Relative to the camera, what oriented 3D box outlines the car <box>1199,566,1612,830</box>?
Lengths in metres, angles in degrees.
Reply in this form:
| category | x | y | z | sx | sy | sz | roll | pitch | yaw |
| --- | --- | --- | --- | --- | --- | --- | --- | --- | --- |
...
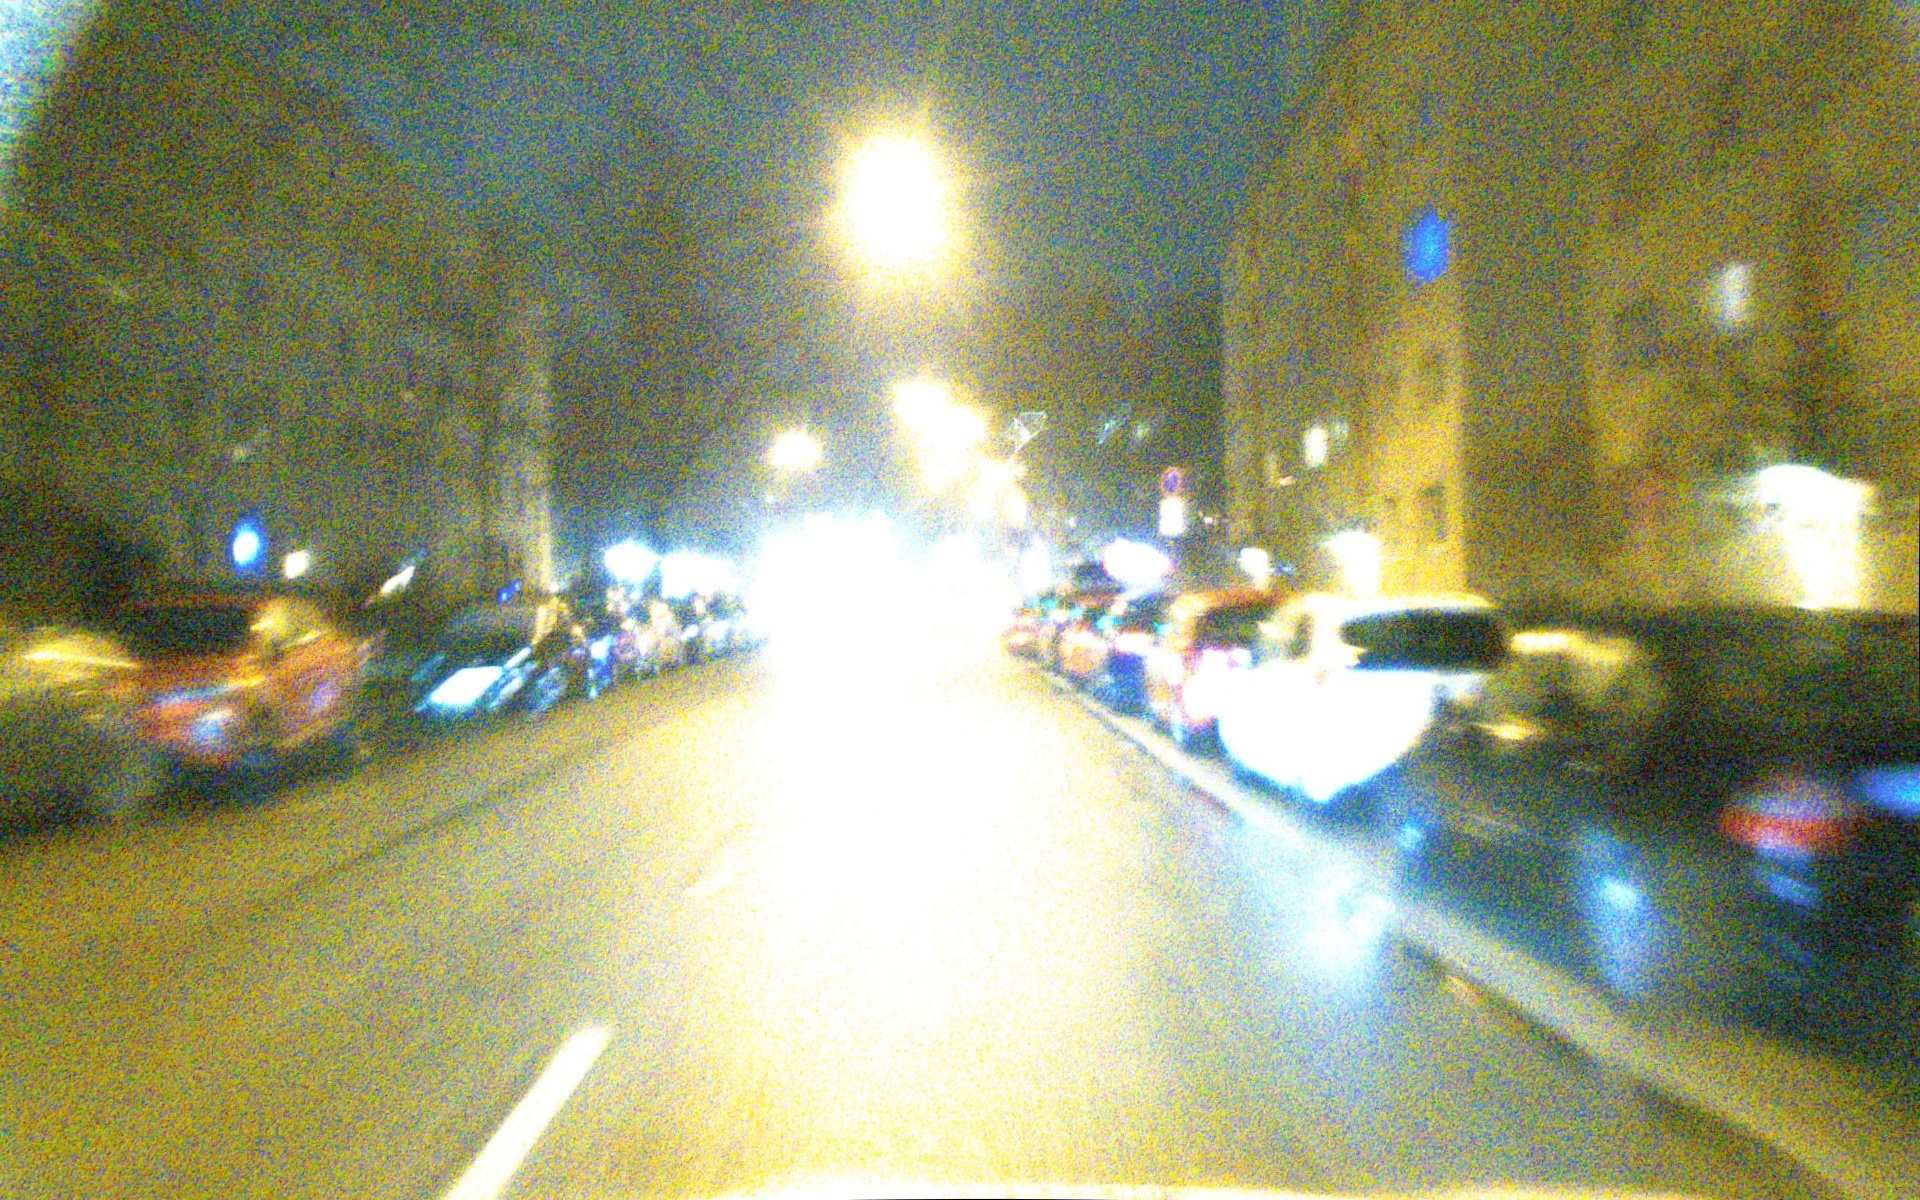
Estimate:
| category | x | y | z | sx | sy | sz | roll | pitch | yaw |
| --- | --- | --- | --- | --- | --- | --- | --- | --- | --- |
| car | 3.003 | 0.570 | 12.118 | 1.641 | 1.513 | 4.277 | -2 | 1 | -3 |

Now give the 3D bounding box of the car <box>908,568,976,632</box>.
| category | x | y | z | sx | sy | sz | roll | pitch | yaw |
| --- | --- | --- | --- | --- | --- | --- | --- | --- | --- |
| car | -0.636 | -0.013 | 55.019 | 2.124 | 2.006 | 4.300 | -1 | 0 | -2 |

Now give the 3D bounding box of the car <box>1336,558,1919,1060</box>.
| category | x | y | z | sx | sy | sz | roll | pitch | yaw |
| --- | --- | --- | --- | --- | --- | --- | --- | --- | --- |
| car | 3.122 | 0.600 | 7.195 | 1.759 | 1.472 | 4.277 | -3 | 1 | -3 |

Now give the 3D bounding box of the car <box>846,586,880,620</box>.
| category | x | y | z | sx | sy | sz | roll | pitch | yaw |
| --- | --- | --- | --- | --- | --- | --- | --- | --- | --- |
| car | -6.479 | 0.165 | 110.004 | 1.995 | 1.987 | 5.195 | -4 | 2 | -5 |

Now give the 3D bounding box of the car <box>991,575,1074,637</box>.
| category | x | y | z | sx | sy | sz | roll | pitch | yaw |
| --- | --- | --- | --- | --- | --- | --- | --- | --- | --- |
| car | 1.848 | 0.128 | 43.237 | 1.786 | 1.446 | 4.487 | -3 | 1 | -2 |

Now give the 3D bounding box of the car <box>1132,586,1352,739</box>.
| category | x | y | z | sx | sy | sz | roll | pitch | yaw |
| --- | --- | --- | --- | --- | --- | --- | --- | --- | --- |
| car | 2.764 | 0.557 | 16.901 | 1.427 | 1.329 | 3.627 | -2 | 1 | -3 |

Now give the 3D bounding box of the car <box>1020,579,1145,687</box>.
| category | x | y | z | sx | sy | sz | roll | pitch | yaw |
| --- | --- | --- | --- | --- | --- | --- | --- | --- | --- |
| car | 1.956 | 0.482 | 27.571 | 1.787 | 1.574 | 4.353 | -2 | 1 | 1 |

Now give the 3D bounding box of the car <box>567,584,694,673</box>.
| category | x | y | z | sx | sy | sz | roll | pitch | yaw |
| --- | --- | --- | --- | --- | --- | --- | --- | --- | --- |
| car | -6.298 | 0.494 | 32.117 | 1.605 | 1.482 | 4.931 | -4 | 1 | -3 |

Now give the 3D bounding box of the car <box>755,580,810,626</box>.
| category | x | y | z | sx | sy | sz | roll | pitch | yaw |
| --- | --- | --- | --- | --- | --- | --- | --- | --- | --- |
| car | -6.726 | 0.093 | 62.987 | 1.566 | 1.591 | 4.379 | -4 | 1 | -1 |

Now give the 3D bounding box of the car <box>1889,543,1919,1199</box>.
| category | x | y | z | sx | sy | sz | roll | pitch | yaw |
| --- | --- | --- | --- | --- | --- | --- | --- | --- | --- |
| car | 3.165 | 0.606 | 1.794 | 1.760 | 1.517 | 4.126 | -3 | 1 | -4 |

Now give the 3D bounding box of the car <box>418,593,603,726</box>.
| category | x | y | z | sx | sy | sz | roll | pitch | yaw |
| --- | --- | --- | --- | --- | --- | --- | --- | --- | --- |
| car | -5.804 | 0.714 | 21.721 | 1.402 | 1.485 | 3.374 | -4 | 1 | 0 |

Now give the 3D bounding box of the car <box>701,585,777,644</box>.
| category | x | y | z | sx | sy | sz | roll | pitch | yaw |
| --- | --- | --- | --- | --- | --- | --- | --- | --- | --- |
| car | -6.259 | 0.377 | 47.244 | 1.566 | 1.512 | 4.274 | -4 | 1 | -1 |

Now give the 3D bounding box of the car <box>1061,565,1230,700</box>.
| category | x | y | z | sx | sy | sz | roll | pitch | yaw |
| --- | --- | --- | --- | --- | --- | --- | --- | --- | --- |
| car | 2.416 | 0.373 | 22.676 | 1.718 | 1.574 | 4.978 | -2 | 1 | 0 |

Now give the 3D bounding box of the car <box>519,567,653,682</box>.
| category | x | y | z | sx | sy | sz | roll | pitch | yaw |
| --- | --- | --- | --- | --- | --- | --- | --- | --- | --- |
| car | -6.022 | 0.360 | 26.922 | 1.445 | 1.647 | 3.372 | -4 | 1 | -3 |

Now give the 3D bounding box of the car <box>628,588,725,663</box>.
| category | x | y | z | sx | sy | sz | roll | pitch | yaw |
| --- | --- | --- | --- | --- | --- | --- | --- | --- | --- |
| car | -6.272 | 0.519 | 36.935 | 1.566 | 1.456 | 4.002 | -4 | 1 | -3 |

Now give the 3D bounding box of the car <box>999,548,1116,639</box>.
| category | x | y | z | sx | sy | sz | roll | pitch | yaw |
| --- | --- | --- | --- | --- | --- | --- | --- | --- | --- |
| car | 1.824 | -0.142 | 32.403 | 1.763 | 1.557 | 5.050 | -2 | 1 | -2 |

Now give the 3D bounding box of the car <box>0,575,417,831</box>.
| category | x | y | z | sx | sy | sz | roll | pitch | yaw |
| --- | --- | --- | --- | --- | --- | --- | --- | --- | --- |
| car | -5.893 | 0.693 | 13.559 | 1.713 | 1.625 | 4.385 | -4 | 1 | -6 |

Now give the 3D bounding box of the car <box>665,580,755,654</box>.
| category | x | y | z | sx | sy | sz | roll | pitch | yaw |
| --- | --- | --- | --- | --- | --- | --- | --- | --- | --- |
| car | -6.209 | 0.385 | 41.532 | 1.566 | 1.632 | 4.258 | -4 | 1 | -1 |

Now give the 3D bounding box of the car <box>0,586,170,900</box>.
| category | x | y | z | sx | sy | sz | roll | pitch | yaw |
| --- | --- | --- | --- | --- | --- | --- | --- | --- | --- |
| car | -5.633 | 0.774 | 7.956 | 1.633 | 1.566 | 4.388 | -4 | 1 | -3 |
